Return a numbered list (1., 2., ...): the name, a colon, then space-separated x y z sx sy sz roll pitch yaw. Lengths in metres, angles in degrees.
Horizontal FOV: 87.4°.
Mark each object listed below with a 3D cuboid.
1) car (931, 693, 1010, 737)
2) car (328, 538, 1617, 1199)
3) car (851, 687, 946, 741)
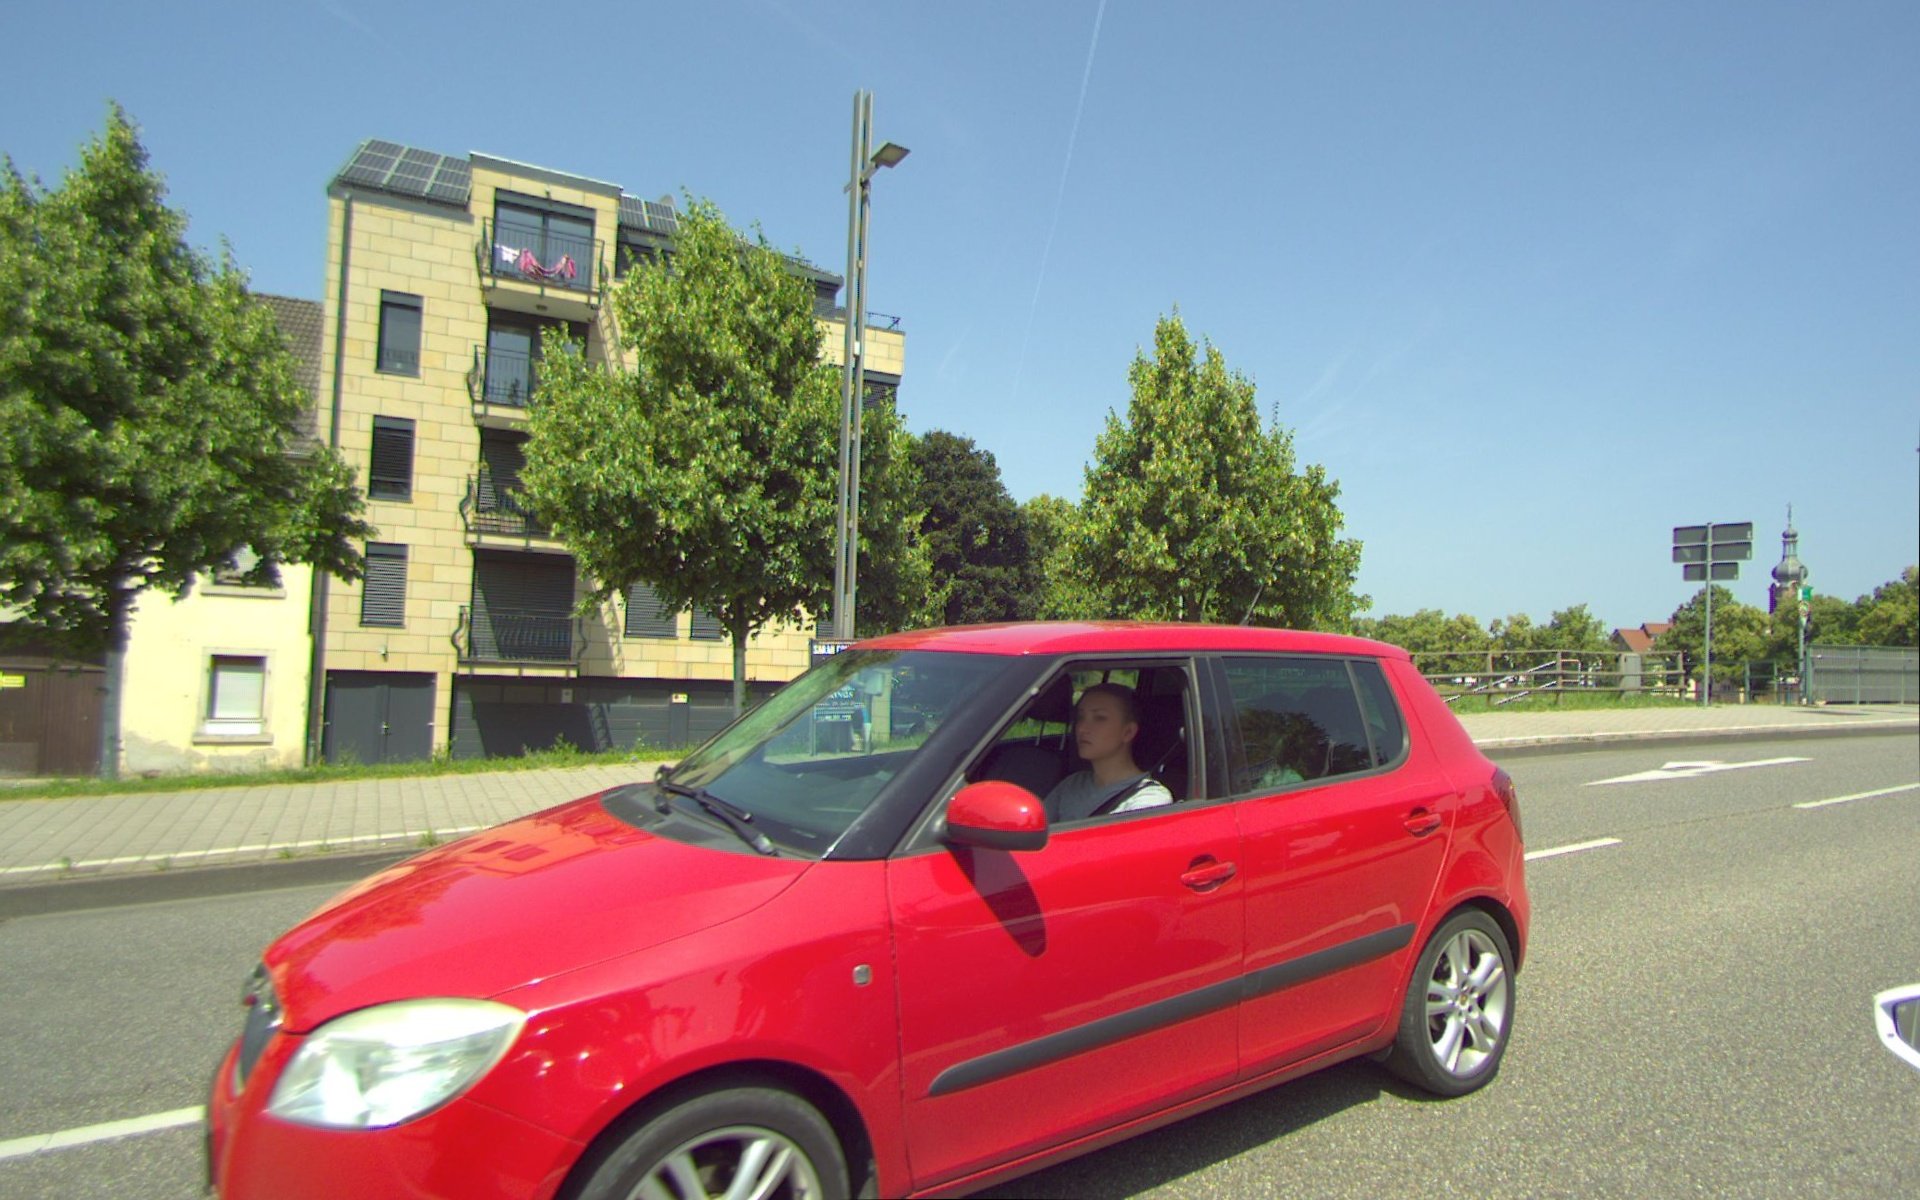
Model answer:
1. car: 0.401 4.931 43.447 1.972 1.670 3.978 2 -4 -24
2. car: 0.272 0.730 3.185 3.819 1.483 1.638 2 -2 -33
3. car: -2.228 3.956 35.358 1.973 1.670 3.976 2 -4 -25
